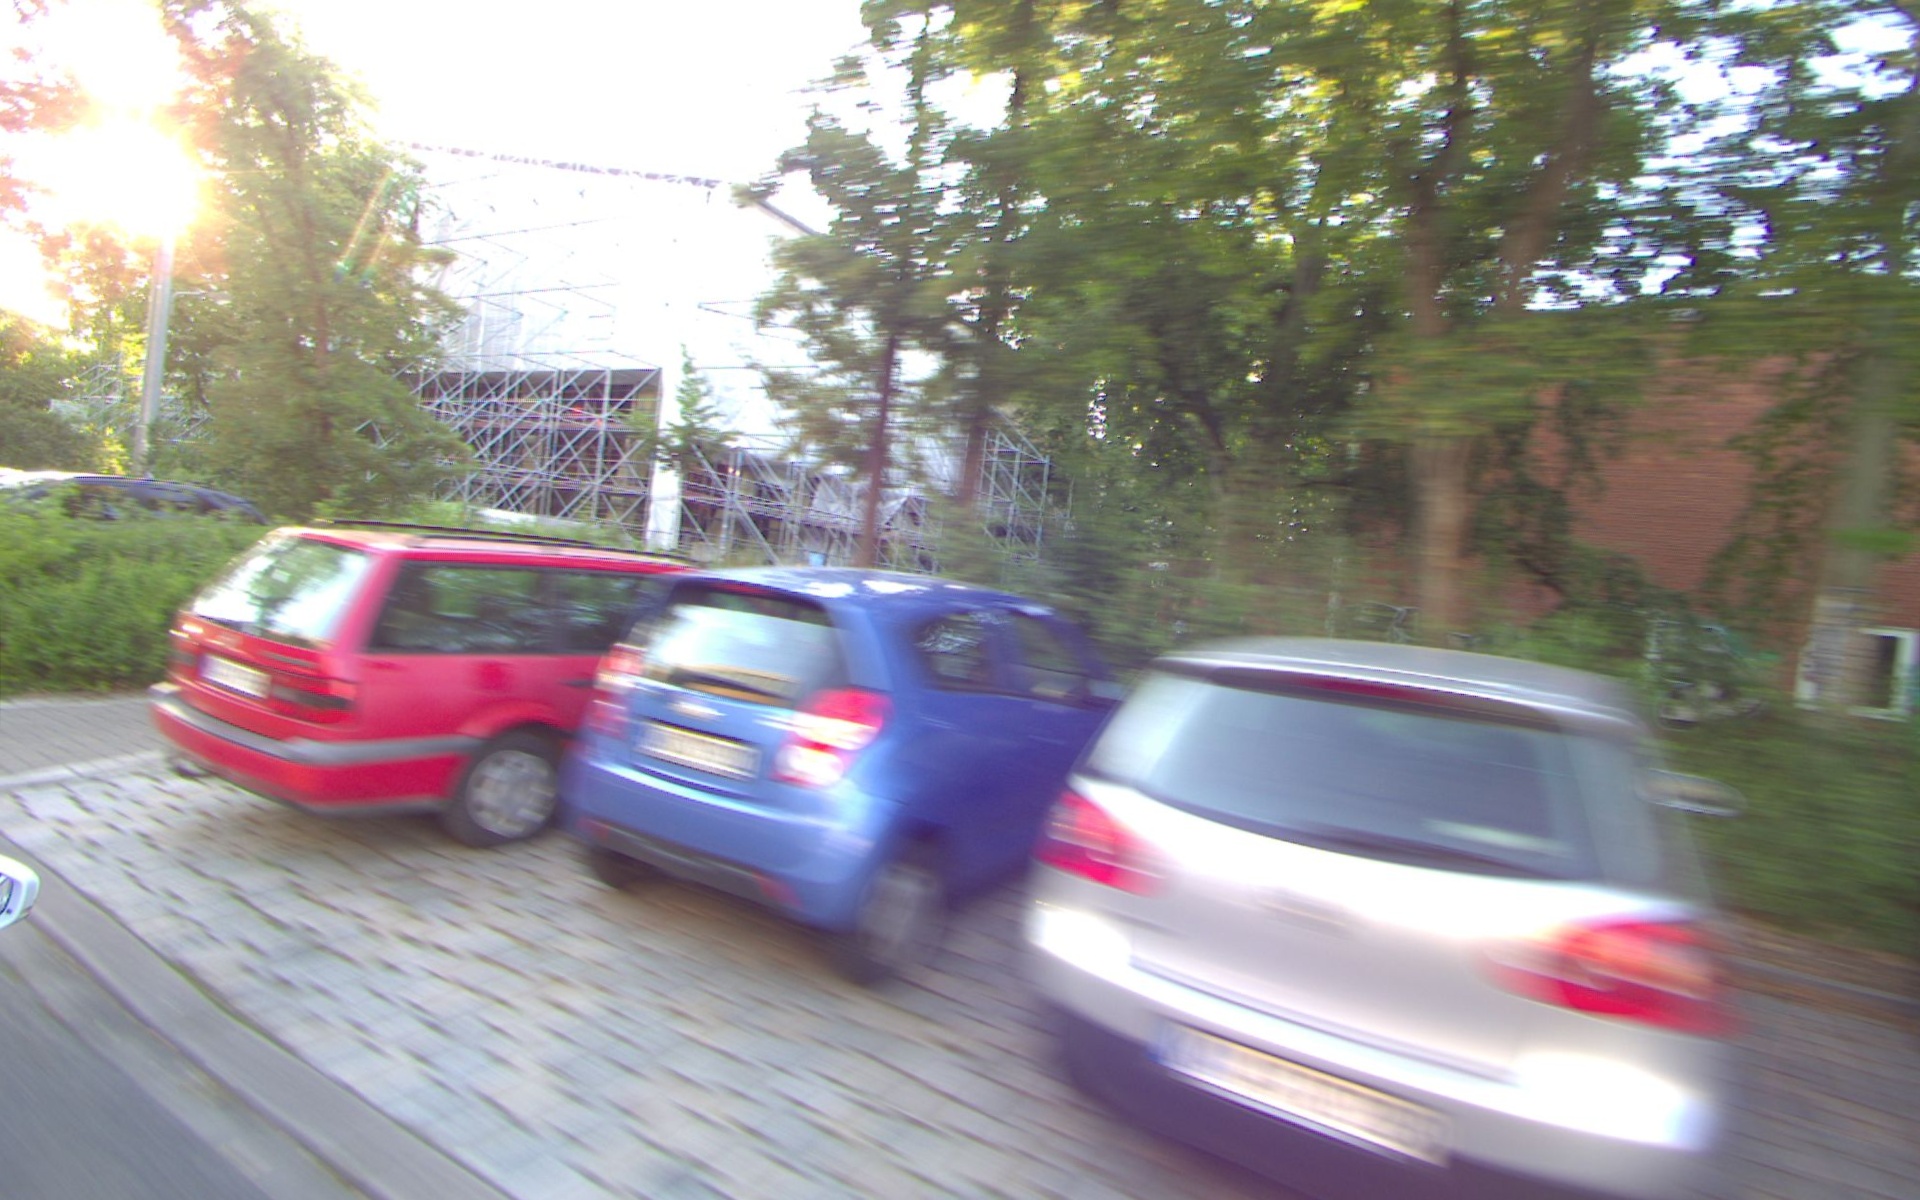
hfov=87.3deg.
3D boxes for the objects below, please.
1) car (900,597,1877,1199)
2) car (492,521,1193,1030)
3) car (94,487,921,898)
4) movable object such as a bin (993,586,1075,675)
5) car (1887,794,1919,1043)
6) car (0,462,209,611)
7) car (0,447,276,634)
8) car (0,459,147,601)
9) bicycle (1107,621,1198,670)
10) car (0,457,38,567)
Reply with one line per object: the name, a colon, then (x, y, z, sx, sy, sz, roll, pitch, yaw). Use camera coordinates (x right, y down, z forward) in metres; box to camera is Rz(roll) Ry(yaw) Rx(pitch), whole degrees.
car: (1.711, 0.865, 3.803, 1.802, 1.473, 3.923, 7, 3, 33)
car: (-0.228, 0.585, 5.330, 1.712, 1.577, 3.713, 7, 3, 30)
car: (-2.239, 0.367, 6.181, 1.713, 1.495, 4.337, 9, 3, 32)
movable object such as a bin: (1.326, 0.553, 18.063, 0.968, 1.457, 0.962, 8, 2, 34)
car: (3.975, 1.141, 2.217, 1.801, 1.495, 4.122, 7, 3, 30)
car: (-11.267, -0.795, 11.712, 1.788, 1.587, 3.590, 6, 1, 31)
car: (-9.443, -0.661, 10.145, 1.668, 1.613, 3.752, 7, -1, 29)
car: (-13.344, -1.093, 12.886, 1.694, 1.687, 4.129, 7, -1, 31)
bicycle: (5.384, 1.261, 28.251, 2.348, 1.058, 0.647, 7, 2, 33)
car: (-17.212, -1.671, 15.406, 1.838, 1.731, 4.172, 7, 0, 35)
